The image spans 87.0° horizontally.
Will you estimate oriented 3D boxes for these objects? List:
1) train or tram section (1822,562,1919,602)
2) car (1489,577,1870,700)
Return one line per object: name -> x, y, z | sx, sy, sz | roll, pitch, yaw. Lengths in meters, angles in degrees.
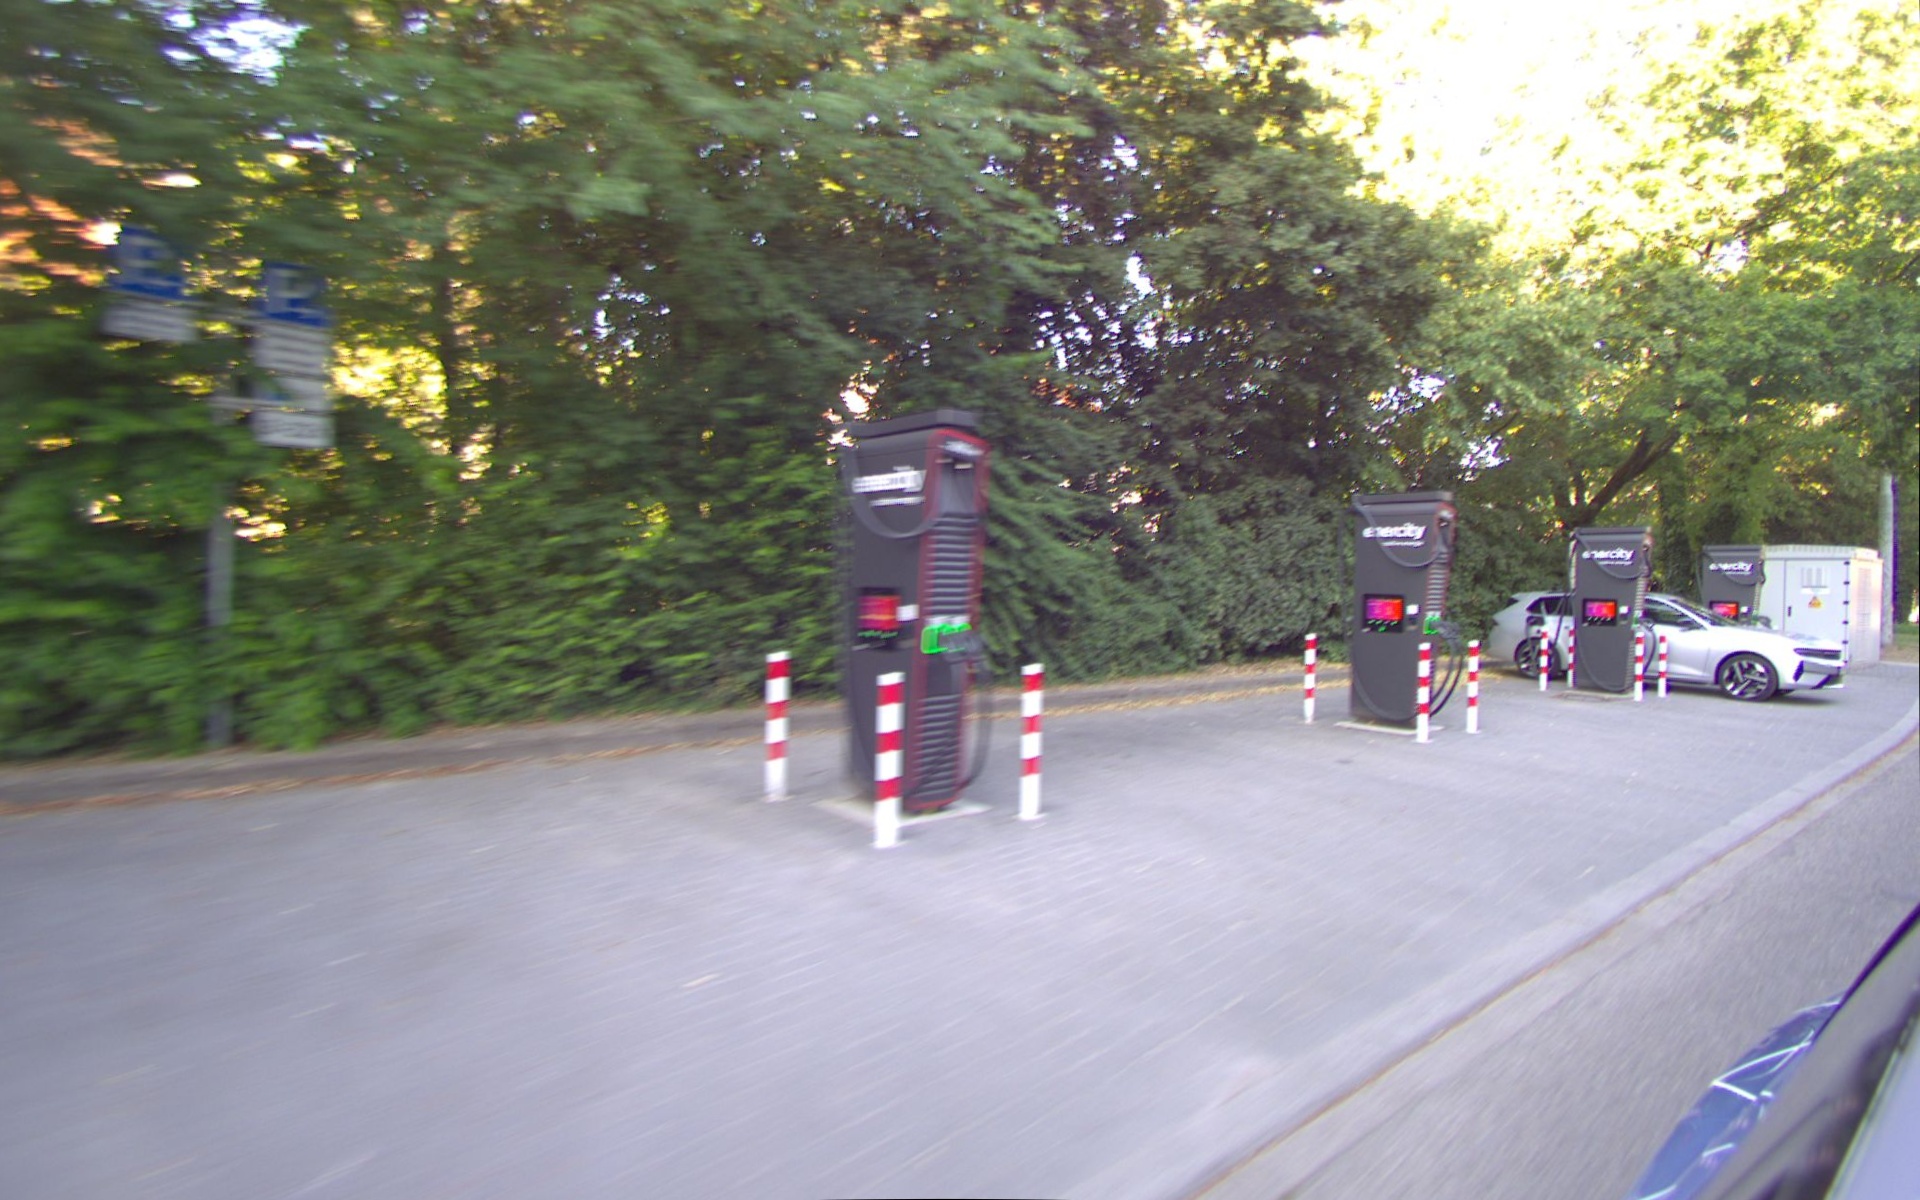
train or tram section -> 87.489, -1.632, 91.772 | 3.061, 3.603, 17.489 | 1, 1, -2
car -> 10.821, 0.465, 15.529 | 1.751, 1.487, 4.451 | 0, 3, -40
